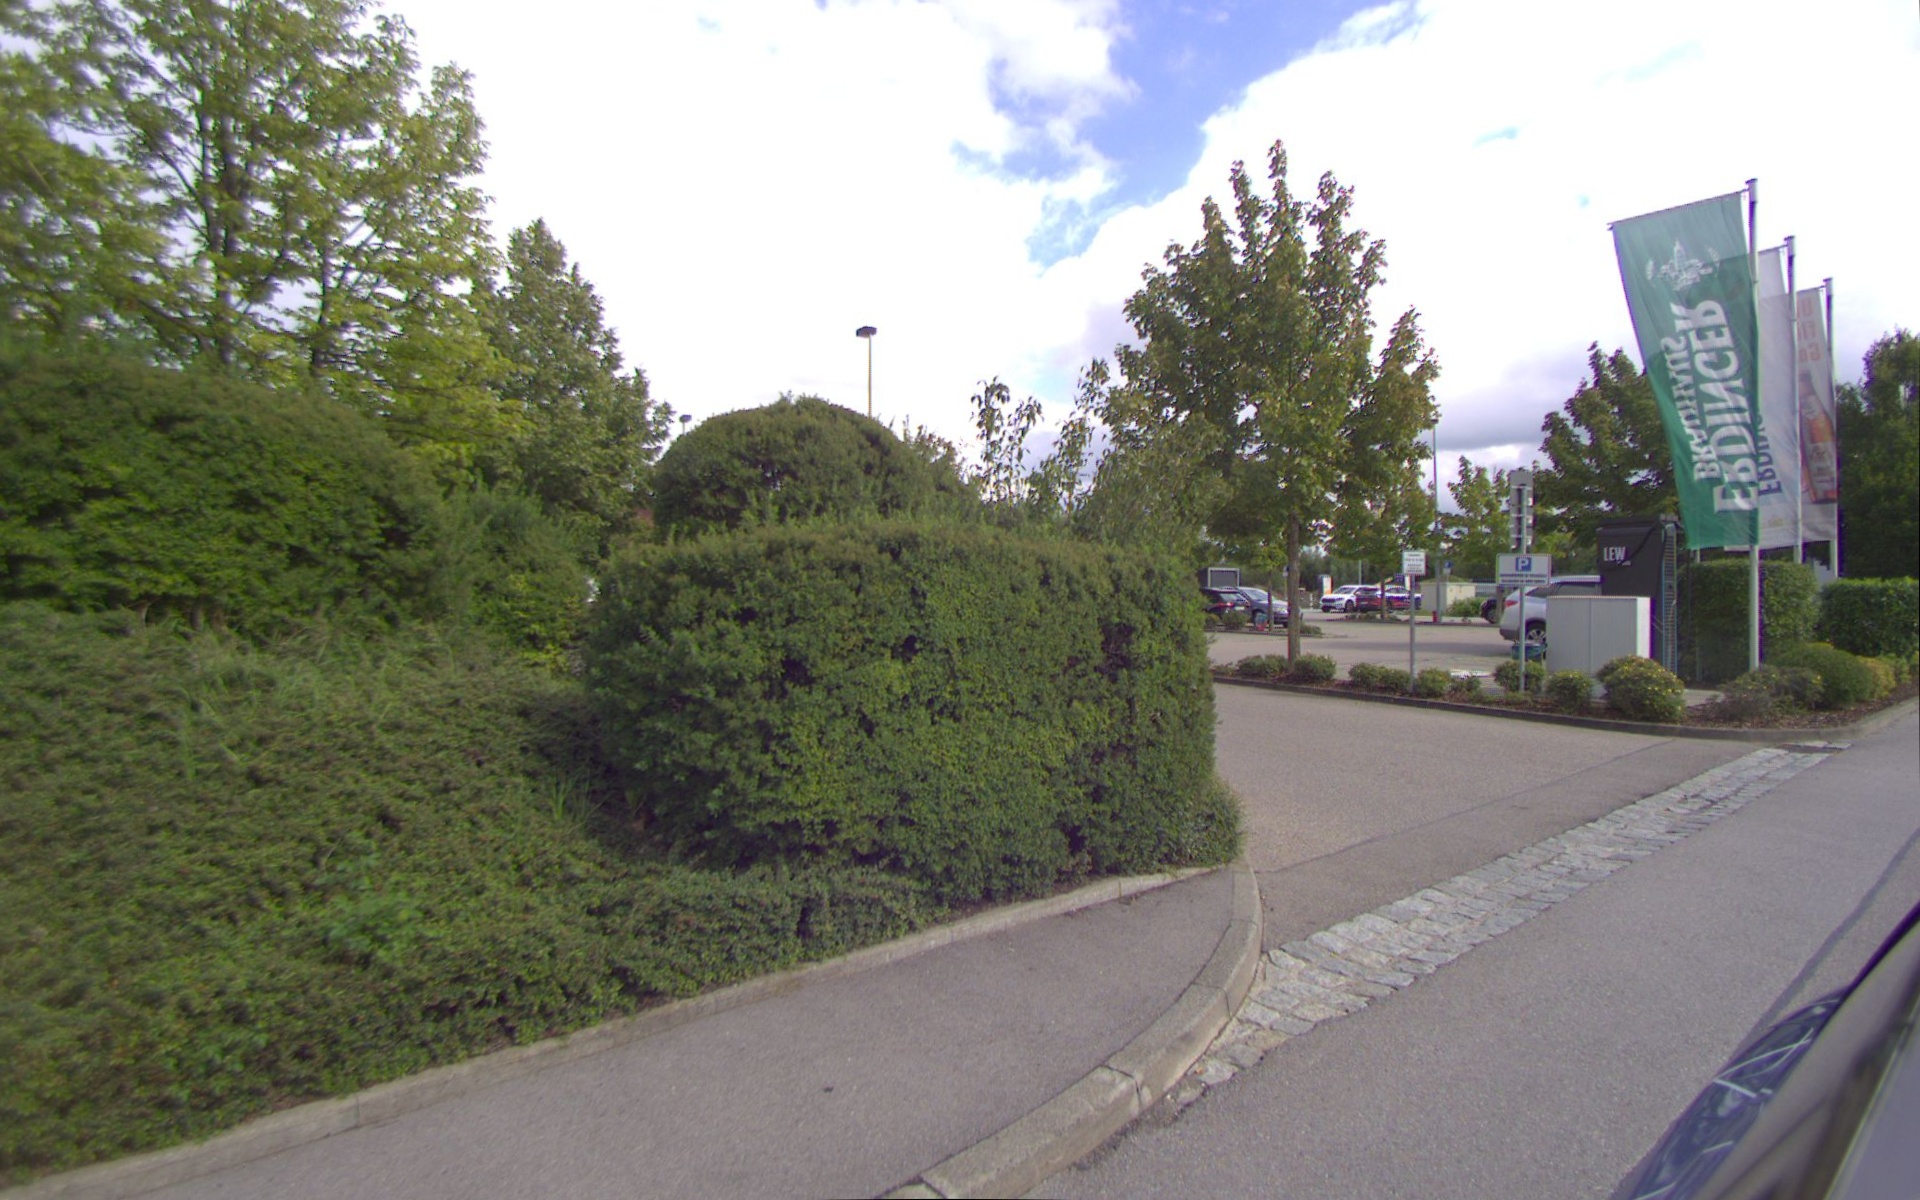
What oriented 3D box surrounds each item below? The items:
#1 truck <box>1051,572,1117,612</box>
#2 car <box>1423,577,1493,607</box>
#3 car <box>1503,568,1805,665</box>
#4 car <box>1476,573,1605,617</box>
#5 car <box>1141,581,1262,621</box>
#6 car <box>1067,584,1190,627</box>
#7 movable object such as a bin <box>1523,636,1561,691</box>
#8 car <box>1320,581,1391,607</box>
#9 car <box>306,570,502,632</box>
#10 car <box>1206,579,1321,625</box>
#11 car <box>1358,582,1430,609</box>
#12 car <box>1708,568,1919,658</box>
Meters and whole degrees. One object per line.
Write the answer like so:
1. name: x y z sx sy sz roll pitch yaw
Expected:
1. truck: 13.493 -0.826 109.718 8.400 4.173 1.997 0 0 -41
2. car: 27.982 -0.443 56.849 3.921 1.635 1.724 0 0 -32
3. car: 13.756 0.221 20.399 1.880 1.717 4.686 -1 2 -29
4. car: 23.913 -0.183 41.856 1.624 1.738 4.366 0 0 -32
5. car: 8.658 0.047 36.600 1.688 1.363 4.278 0 0 -33
6. car: 5.655 0.170 34.388 1.688 1.363 4.278 0 0 -33
7. movable object such as a bin: 7.605 0.828 13.228 0.360 0.693 0.289 0 -1 -29
8. car: 24.046 -0.378 61.559 3.917 1.538 1.719 0 0 -23
9. car: -16.499 0.024 30.152 4.981 1.733 1.750 0 0 -34
10. car: 11.143 0.077 37.429 1.958 1.591 4.007 0 0 -23
11. car: 25.453 -0.272 59.341 3.917 1.538 1.609 0 0 -23
12. car: 18.606 0.249 21.267 1.625 1.738 4.366 0 0 -32
